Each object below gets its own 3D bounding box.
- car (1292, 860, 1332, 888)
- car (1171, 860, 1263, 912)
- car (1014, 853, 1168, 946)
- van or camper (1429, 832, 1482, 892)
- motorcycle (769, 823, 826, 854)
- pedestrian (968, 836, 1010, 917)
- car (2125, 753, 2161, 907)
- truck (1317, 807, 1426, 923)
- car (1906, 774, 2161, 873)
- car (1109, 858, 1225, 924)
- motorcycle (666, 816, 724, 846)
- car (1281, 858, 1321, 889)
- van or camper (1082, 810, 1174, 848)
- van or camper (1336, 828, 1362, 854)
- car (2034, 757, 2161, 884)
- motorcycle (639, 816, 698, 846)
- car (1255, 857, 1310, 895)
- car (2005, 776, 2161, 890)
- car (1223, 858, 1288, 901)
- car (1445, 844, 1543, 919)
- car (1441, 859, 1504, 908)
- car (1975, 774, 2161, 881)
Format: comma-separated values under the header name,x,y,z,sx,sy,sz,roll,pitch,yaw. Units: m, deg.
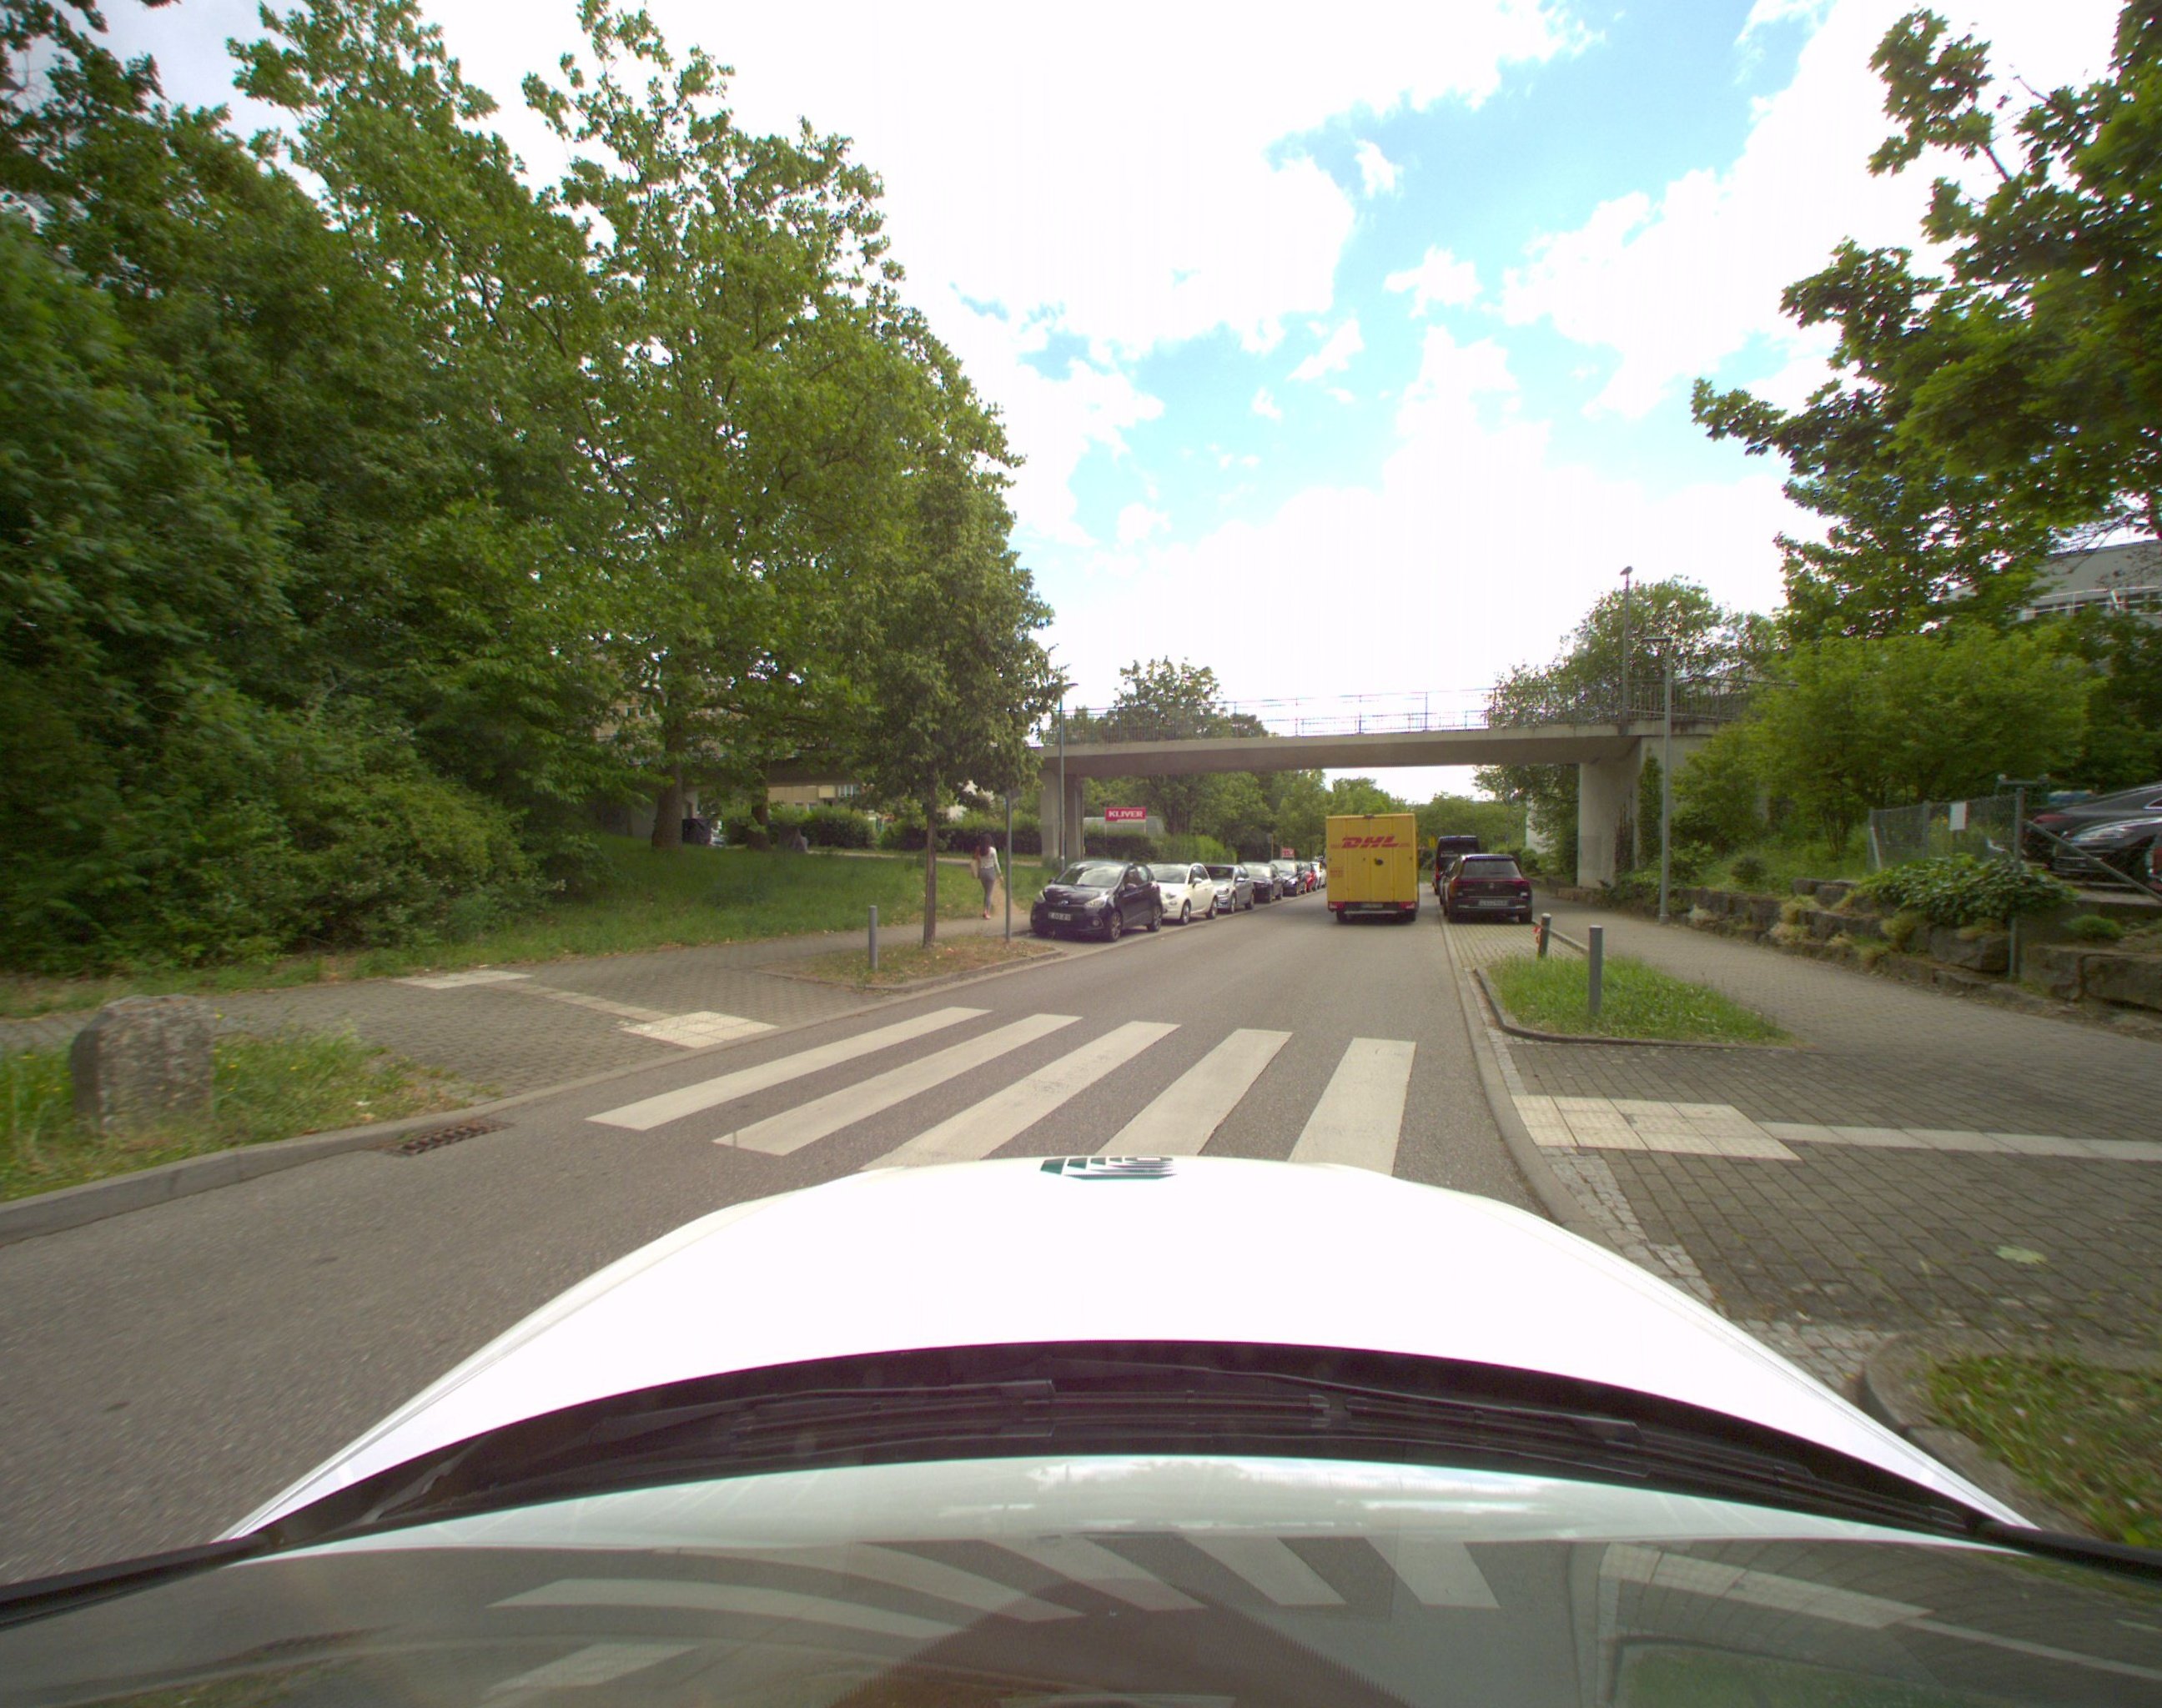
name,x,y,z,sx,sy,sz,roll,pitch,yaw
car,13.051,1.082,45.911,1.660,1.436,3.991,1,0,23
car,4.329,0.929,25.473,1.868,1.427,4.023,1,1,24
car,0.348,0.800,16.466,1.771,1.467,4.021,3,2,21
van or camper,17.053,0.378,37.274,1.976,2.523,5.501,-2,-1,23
motorcycle,-11.719,-0.645,33.658,0.875,1.270,2.059,1,2,41
pedestrian,-1.997,0.474,17.730,0.732,1.721,0.662,0,1,10
car,11.982,-0.200,6.930,1.694,1.439,3.617,-1,2,-44
truck,8.261,0.249,22.663,2.444,2.702,6.861,0,0,23
car,18.328,-0.545,14.861,4.501,1.668,1.956,2,2,43
car,2.279,0.900,20.675,1.868,1.460,3.566,1,-1,24
motorcycle,-16.659,-0.995,35.185,0.876,1.270,2.327,1,1,19
car,11.180,0.956,41.248,1.515,1.506,2.728,1,0,25
van or camper,2.650,-1.397,45.848,4.815,2.085,2.010,1,1,18
van or camper,35.530,-1.772,107.927,2.310,2.869,5.277,3,7,9
car,13.506,-0.364,8.978,1.694,1.421,3.753,-1,2,-44
motorcycle,-17.797,-1.000,35.200,0.876,1.270,2.327,1,1,19
car,9.305,0.947,37.427,1.868,1.559,3.858,3,1,22
car,15.197,-0.279,10.910,1.694,1.498,3.617,-1,2,-44
car,6.905,0.942,31.936,1.869,1.509,4.474,1,0,20
car,10.263,0.699,20.518,1.798,1.678,4.393,-1,-2,22
car,12.921,0.908,27.056,1.684,1.496,4.141,-1,0,23
car,17.206,-0.408,12.884,3.950,1.613,1.956,2,2,43
